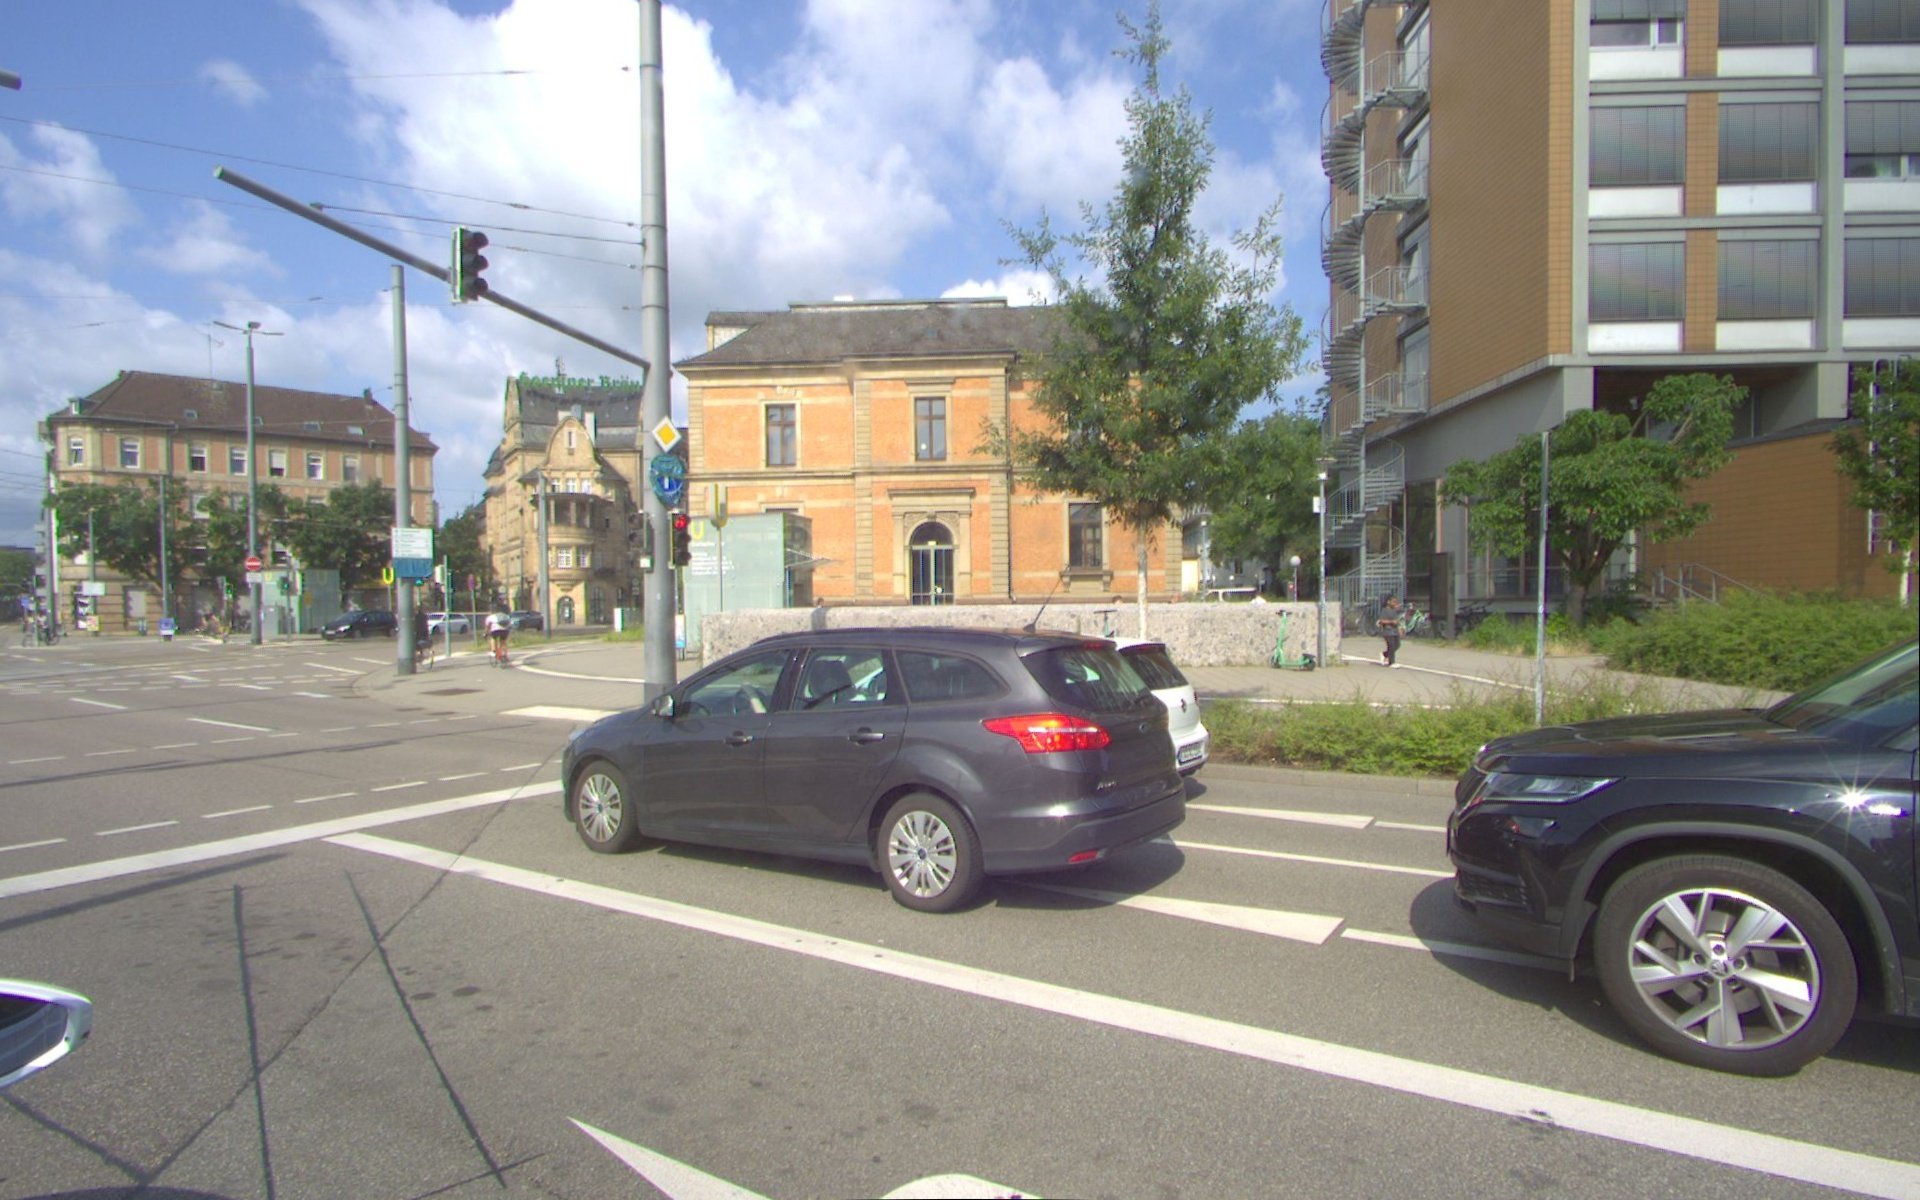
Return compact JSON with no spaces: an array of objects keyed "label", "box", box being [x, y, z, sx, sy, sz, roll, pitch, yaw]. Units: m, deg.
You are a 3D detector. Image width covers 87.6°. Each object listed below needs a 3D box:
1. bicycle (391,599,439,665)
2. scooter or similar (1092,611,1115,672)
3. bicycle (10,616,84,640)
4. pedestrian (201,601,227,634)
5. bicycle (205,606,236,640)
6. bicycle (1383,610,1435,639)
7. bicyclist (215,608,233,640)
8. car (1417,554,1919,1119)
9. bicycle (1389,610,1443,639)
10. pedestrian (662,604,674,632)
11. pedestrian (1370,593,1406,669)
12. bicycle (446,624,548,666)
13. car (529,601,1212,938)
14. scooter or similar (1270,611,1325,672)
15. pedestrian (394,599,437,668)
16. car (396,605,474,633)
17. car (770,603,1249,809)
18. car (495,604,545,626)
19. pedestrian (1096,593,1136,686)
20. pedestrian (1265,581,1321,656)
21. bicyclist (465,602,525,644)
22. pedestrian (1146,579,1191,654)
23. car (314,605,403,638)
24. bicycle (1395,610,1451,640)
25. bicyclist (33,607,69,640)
[{"label":"bicycle","box":[-15.130,0.901,27.756,0.995,1.747,2.455,1,-2,-32]},{"label":"scooter or similar","box":[2.974,0.842,20.792,0.395,1.212,1.186,-1,1,6]},{"label":"bicycle","box":[-46.896,1.421,51.487,0.887,1.186,2.668,0,0,29]},{"label":"pedestrian","box":[-43.065,1.019,57.818,0.872,1.833,0.866,-1,-1,21]},{"label":"bicycle","box":[-39.765,1.214,53.839,1.612,1.801,0.728,0,1,29]},{"label":"bicycle","box":[14.941,0.819,33.343,1.520,0.916,0.459,-1,0,5]},{"label":"bicyclist","box":[-39.427,1.285,53.643,0.646,1.693,0.571,0,1,29]},{"label":"car","box":[4.176,0.692,3.354,4.616,1.690,1.990,-2,-1,31]},{"label":"bicycle","box":[14.878,0.796,32.712,1.520,0.916,0.459,-1,0,5]},{"label":"pedestrian","box":[-16.102,1.008,55.276,0.497,1.525,0.499,-1,1,-2]},{"label":"pedestrian","box":[8.831,0.630,20.661,0.573,1.541,0.476,-1,1,36]},{"label":"bicycle","box":[-12.516,1.241,27.012,3.066,1.040,0.991,-4,-4,32]},{"label":"car","box":[-0.694,0.825,6.474,4.194,1.548,1.765,-1,-2,32]},{"label":"scooter or similar","box":[6.686,0.800,19.864,0.396,1.146,1.184,-1,1,-19]},{"label":"pedestrian","box":[-15.098,0.940,27.746,0.982,1.865,0.990,1,-1,-32]},{"label":"car","box":[-32.093,1.151,61.381,1.961,1.617,4.683,0,0,6]},{"label":"car","box":[0.361,0.846,9.366,4.172,1.464,1.676,1,-2,34]},{"label":"car","box":[-33.615,1.101,76.609,1.721,1.621,3.999,0,0,7]},{"label":"pedestrian","box":[3.541,0.880,22.651,0.792,2.041,0.724,-2,2,11]},{"label":"pedestrian","box":[7.513,0.404,22.587,0.753,1.610,0.934,-3,3,-27]},{"label":"bicyclist","box":[-12.559,0.641,27.051,1.198,1.040,0.989,-4,-4,32]},{"label":"pedestrian","box":[4.687,0.359,22.510,0.754,1.610,0.768,0,4,32]},{"label":"car","box":[-32.928,1.206,54.960,1.961,1.761,4.343,0,-2,5]},{"label":"bicycle","box":[14.823,0.792,32.071,1.520,0.916,0.459,-1,0,5]},{"label":"bicyclist","box":[-46.787,1.193,51.557,0.774,1.680,1.192,0,1,30]}]
